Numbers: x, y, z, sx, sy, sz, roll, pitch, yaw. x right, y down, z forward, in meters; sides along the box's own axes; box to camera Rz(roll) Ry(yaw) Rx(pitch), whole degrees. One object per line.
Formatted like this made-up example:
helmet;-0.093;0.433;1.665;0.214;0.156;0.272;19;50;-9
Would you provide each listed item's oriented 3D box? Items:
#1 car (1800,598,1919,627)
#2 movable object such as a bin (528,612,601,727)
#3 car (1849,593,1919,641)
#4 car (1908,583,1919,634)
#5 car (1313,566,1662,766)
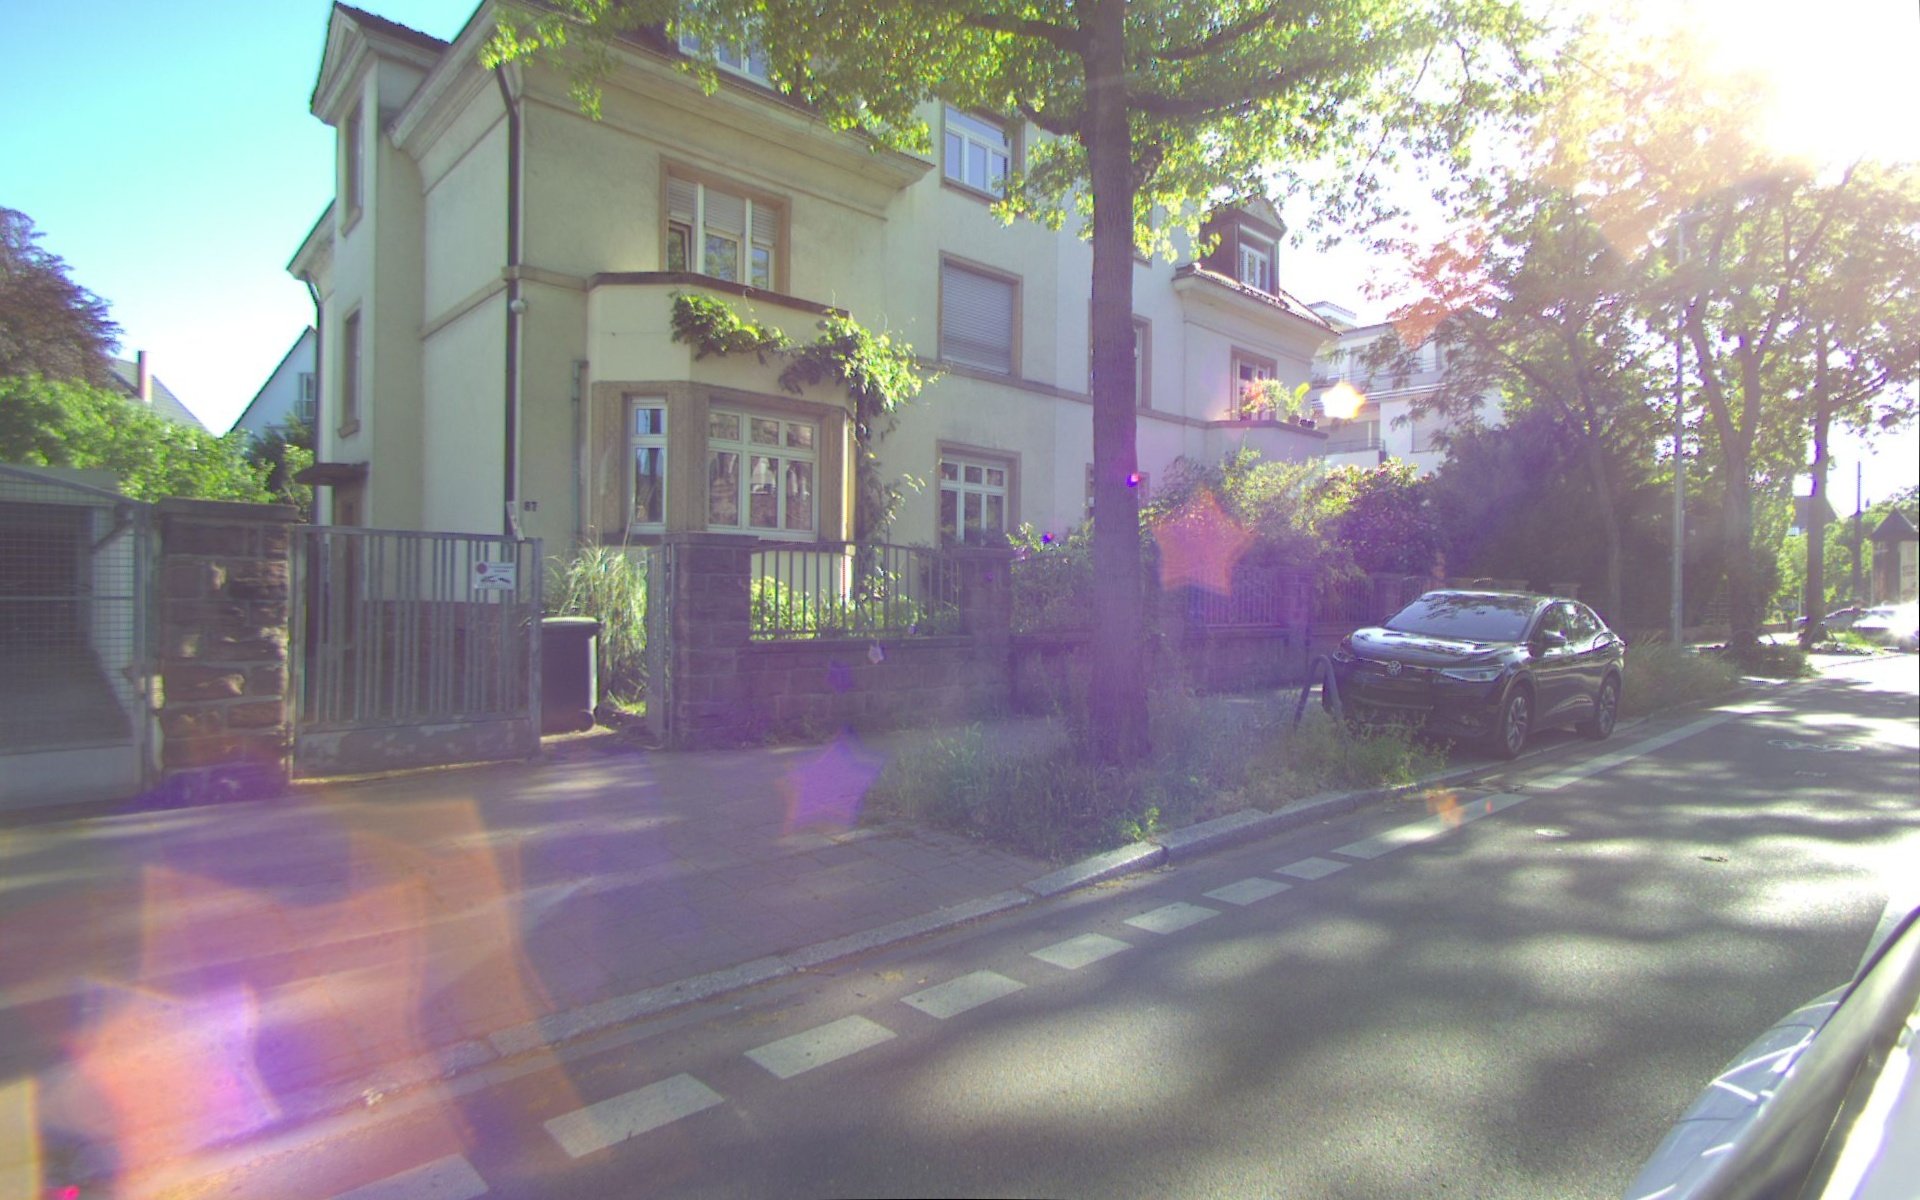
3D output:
car;46.267;0.614;51.978;1.933;1.386;4.521;0;1;-39
movable object such as a bin;-3.838;0.654;9.857;0.634;1.061;0.659;0;0;-20
car;31.106;0.529;33.289;4.253;1.440;1.999;-1;2;-38
car;36.064;0.329;36.470;4.663;1.768;2.028;0;1;-37
car;6.025;0.567;11.292;4.646;1.714;1.808;0;4;-41
